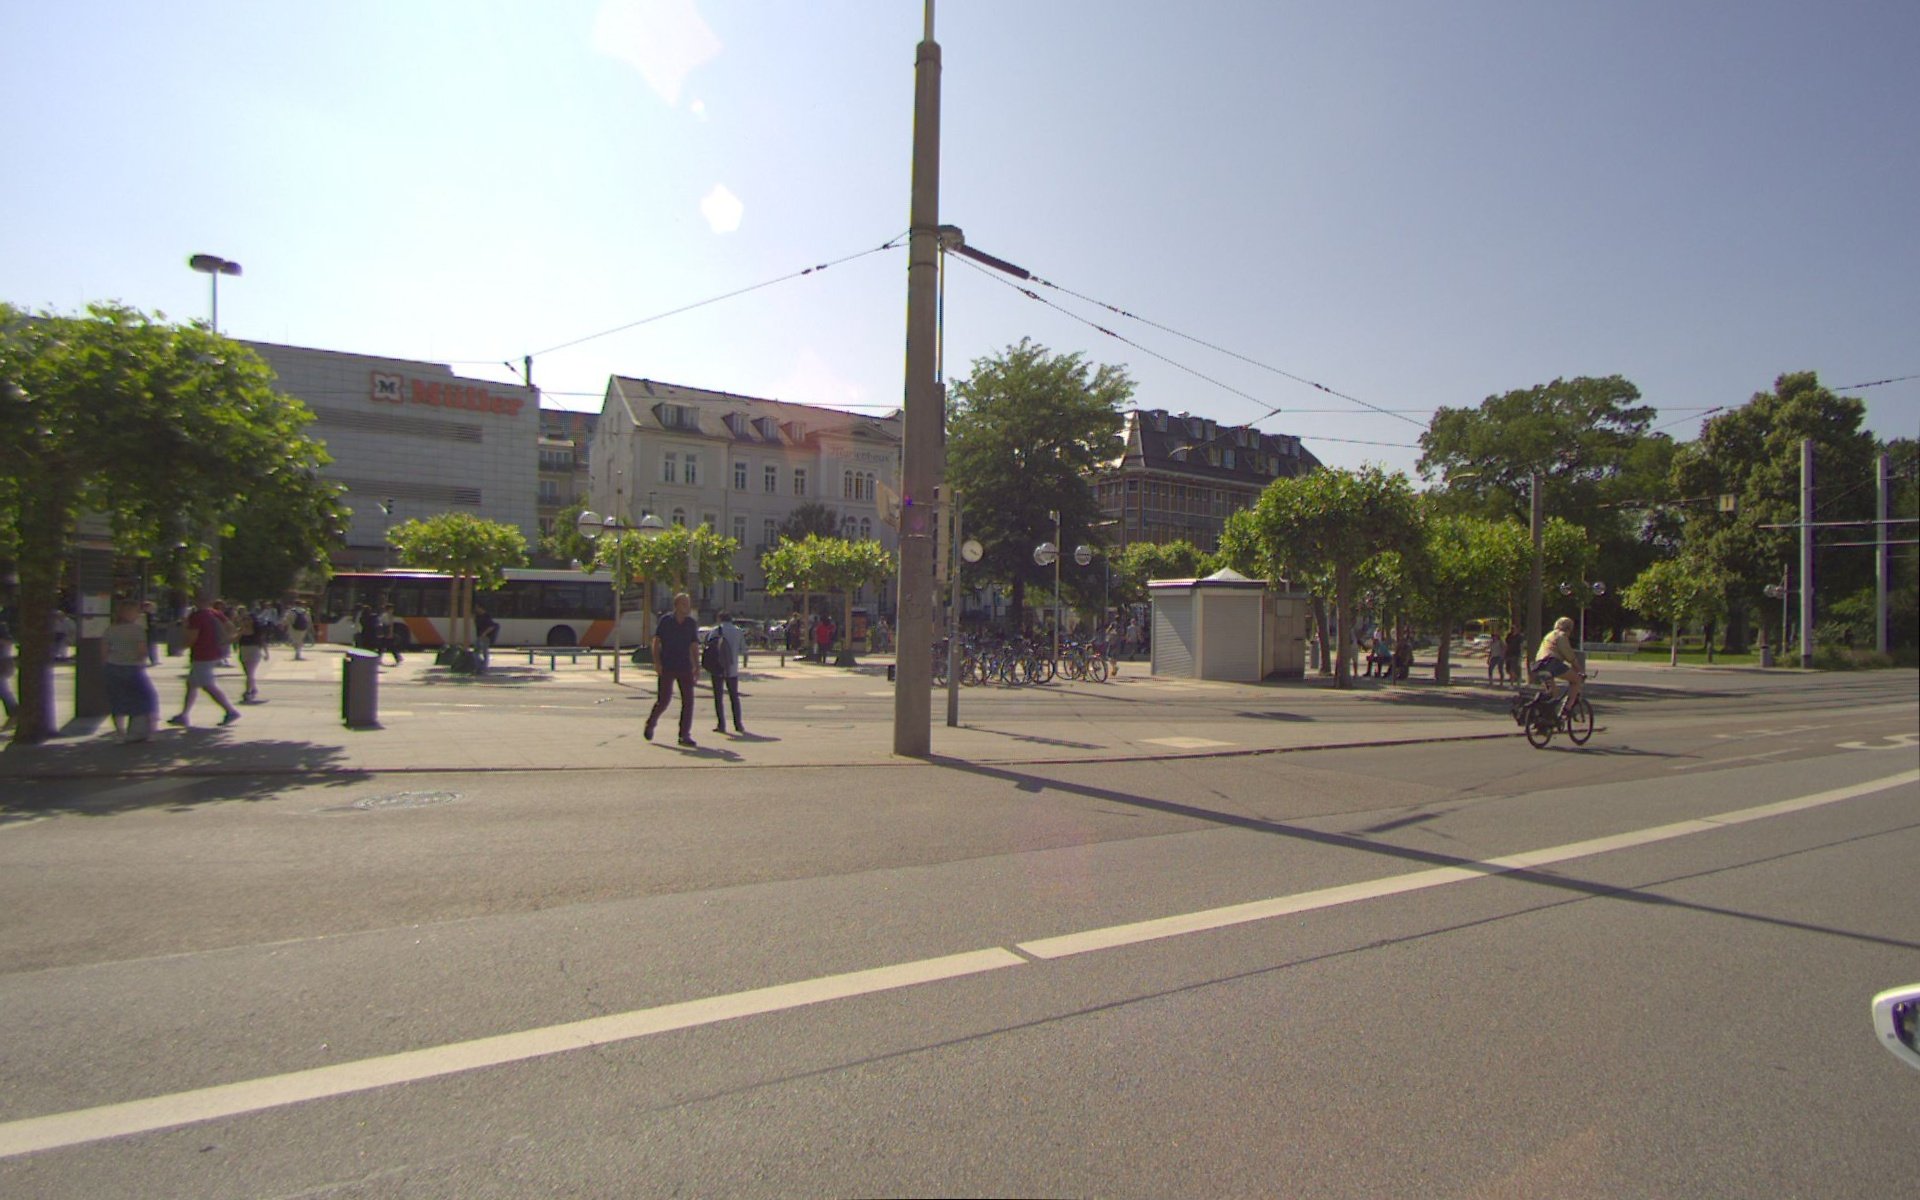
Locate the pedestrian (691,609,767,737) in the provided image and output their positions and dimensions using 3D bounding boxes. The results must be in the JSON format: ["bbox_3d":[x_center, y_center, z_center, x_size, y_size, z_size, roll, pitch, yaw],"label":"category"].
[{"bbox_3d":[-3.176,0.976,13.784,0.675,1.680,0.885,2,-1,-39],"label":"pedestrian"}]

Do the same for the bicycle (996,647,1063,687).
[{"bbox_3d":[1.811,1.742,26.372,0.578,0.881,1.847,1,1,-42],"label":"bicycle"}]

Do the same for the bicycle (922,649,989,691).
[{"bbox_3d":[-0.137,1.722,24.902,0.543,0.868,1.847,1,1,-42],"label":"bicycle"}]

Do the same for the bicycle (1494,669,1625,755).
[{"bbox_3d":[8.594,1.573,14.387,1.852,1.135,0.814,2,-3,-31],"label":"bicycle"}]

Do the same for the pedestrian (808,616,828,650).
[{"bbox_3d":[-6.167,1.444,43.661,0.674,1.484,0.619,1,-3,-35],"label":"pedestrian"}]

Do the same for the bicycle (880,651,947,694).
[{"bbox_3d":[-1.138,1.728,24.155,0.543,0.868,1.847,1,1,-42],"label":"bicycle"}]

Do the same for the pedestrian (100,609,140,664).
[{"bbox_3d":[-23.075,1.010,27.609,0.671,1.484,0.621,0,-3,-25],"label":"pedestrian"}]

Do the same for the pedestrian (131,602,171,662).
[{"bbox_3d":[-20.912,0.843,25.966,0.615,1.521,0.678,-3,-3,37],"label":"pedestrian"}]

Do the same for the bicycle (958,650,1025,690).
[{"bbox_3d":[0.791,1.769,25.602,0.543,0.868,1.847,1,1,-42],"label":"bicycle"}]

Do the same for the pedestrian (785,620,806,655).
[{"bbox_3d":[-7.055,1.606,43.129,0.673,1.484,0.619,1,-3,-33],"label":"pedestrian"}]

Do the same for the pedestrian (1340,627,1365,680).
[{"bbox_3d":[12.044,1.639,30.825,0.566,1.630,0.602,-2,-3,31],"label":"pedestrian"}]

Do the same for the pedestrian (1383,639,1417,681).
[{"bbox_3d":[13.538,1.846,30.901,0.745,1.263,0.670,1,-3,-36],"label":"pedestrian"}]

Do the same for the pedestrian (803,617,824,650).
[{"bbox_3d":[-6.498,1.488,44.554,0.674,1.484,0.618,1,-3,-37],"label":"pedestrian"}]

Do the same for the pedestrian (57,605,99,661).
[{"bbox_3d":[-23.664,0.882,26.949,0.671,1.484,0.621,0,-3,-25],"label":"pedestrian"}]

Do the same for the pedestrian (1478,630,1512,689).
[{"bbox_3d":[15.064,1.676,28.283,0.617,1.630,0.524,0,-2,-21],"label":"pedestrian"}]

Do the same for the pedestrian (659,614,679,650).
[{"bbox_3d":[-12.208,1.328,42.132,0.672,1.484,0.621,0,-3,-28],"label":"pedestrian"}]

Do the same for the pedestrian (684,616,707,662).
[{"bbox_3d":[-8.544,1.261,32.490,0.616,1.484,0.677,0,-3,-24],"label":"pedestrian"}]

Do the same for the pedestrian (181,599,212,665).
[{"bbox_3d":[-19.843,0.835,26.112,0.465,1.687,0.520,-3,-3,37],"label":"pedestrian"}]

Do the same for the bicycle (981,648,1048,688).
[{"bbox_3d":[1.378,1.742,25.862,0.543,0.868,1.847,1,1,-42],"label":"bicycle"}]

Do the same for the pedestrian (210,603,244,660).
[{"bbox_3d":[-19.376,0.832,26.553,0.615,1.484,0.551,-3,-3,38],"label":"pedestrian"}]

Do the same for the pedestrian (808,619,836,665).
[{"bbox_3d":[-4.523,1.387,32.962,0.667,1.484,0.625,-2,-2,22],"label":"pedestrian"}]

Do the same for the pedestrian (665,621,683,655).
[{"bbox_3d":[-12.872,1.717,45.219,0.672,1.484,0.621,0,-3,-28],"label":"pedestrian"}]

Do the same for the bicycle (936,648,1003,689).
[{"bbox_3d":[0.228,1.713,25.318,0.543,0.868,1.847,1,1,-42],"label":"bicycle"}]

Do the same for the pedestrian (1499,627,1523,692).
[{"bbox_3d":[15.125,1.641,27.580,0.517,1.756,0.587,-2,-3,30],"label":"pedestrian"}]

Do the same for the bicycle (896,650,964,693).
[{"bbox_3d":[-0.757,1.735,24.597,0.579,0.883,1.847,1,1,-42],"label":"bicycle"}]

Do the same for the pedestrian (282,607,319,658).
[{"bbox_3d":[-19.494,0.964,29.683,0.613,1.484,0.680,-2,-3,26],"label":"pedestrian"}]

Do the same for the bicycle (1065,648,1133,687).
[{"bbox_3d":[3.737,1.807,27.093,0.578,0.881,1.847,1,1,-42],"label":"bicycle"}]

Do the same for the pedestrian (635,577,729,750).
[{"bbox_3d":[-3.385,0.769,12.275,0.877,2.034,0.681,-1,-2,16],"label":"pedestrian"}]

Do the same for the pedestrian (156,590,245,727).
[{"bbox_3d":[-10.075,0.776,13.343,0.667,1.768,0.625,-1,-2,4],"label":"pedestrian"}]

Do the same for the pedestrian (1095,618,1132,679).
[{"bbox_3d":[4.482,1.414,29.312,0.741,1.751,0.836,-3,-3,37],"label":"pedestrian"}]

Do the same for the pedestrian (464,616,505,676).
[{"bbox_3d":[-11.583,1.133,24.480,0.667,1.437,0.625,-2,-2,22],"label":"pedestrian"}]

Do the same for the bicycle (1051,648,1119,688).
[{"bbox_3d":[3.314,1.796,26.693,0.578,0.881,1.847,1,1,-42],"label":"bicycle"}]

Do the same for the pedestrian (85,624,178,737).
[{"bbox_3d":[-9.460,0.903,11.481,0.543,1.250,0.579,1,-1,4],"label":"pedestrian"}]

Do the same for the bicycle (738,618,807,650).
[{"bbox_3d":[-8.995,1.620,48.185,3.091,1.397,0.821,2,1,0],"label":"bicycle"}]

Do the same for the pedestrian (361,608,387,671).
[{"bbox_3d":[-14.801,0.995,25.373,0.523,1.573,0.597,0,-3,-27],"label":"pedestrian"}]
